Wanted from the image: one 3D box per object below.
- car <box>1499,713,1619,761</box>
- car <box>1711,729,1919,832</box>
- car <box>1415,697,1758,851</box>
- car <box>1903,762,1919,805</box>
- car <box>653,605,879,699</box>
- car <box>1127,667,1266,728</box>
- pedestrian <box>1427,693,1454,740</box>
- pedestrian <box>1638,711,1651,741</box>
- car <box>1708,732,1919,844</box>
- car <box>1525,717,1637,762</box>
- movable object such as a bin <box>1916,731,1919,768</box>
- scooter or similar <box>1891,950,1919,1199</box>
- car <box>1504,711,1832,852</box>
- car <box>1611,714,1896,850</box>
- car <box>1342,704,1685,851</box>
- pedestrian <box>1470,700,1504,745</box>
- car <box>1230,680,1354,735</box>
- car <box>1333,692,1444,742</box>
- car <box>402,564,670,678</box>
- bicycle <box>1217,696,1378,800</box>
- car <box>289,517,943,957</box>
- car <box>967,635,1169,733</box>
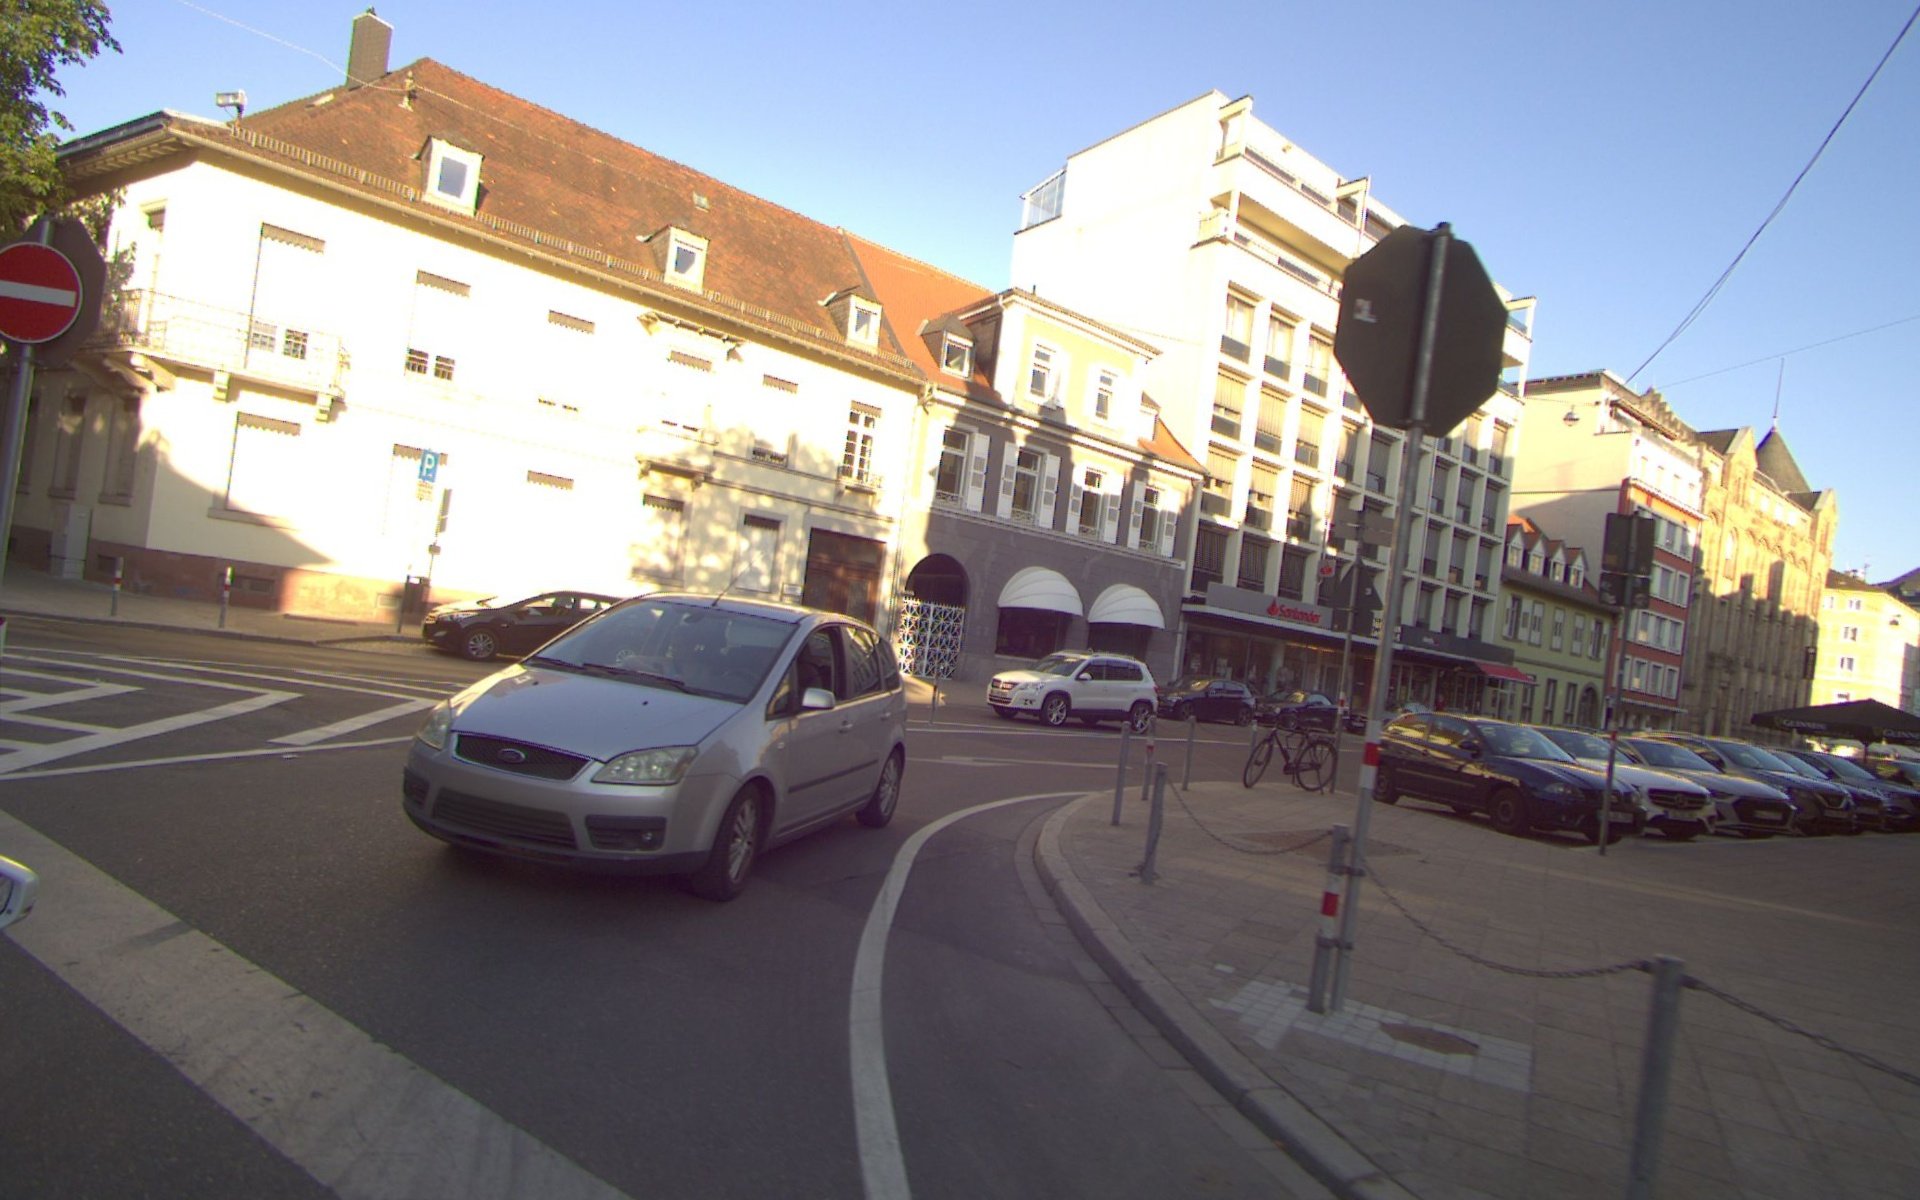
[{"bbox_3d":[26.375,6.023,44.421,4.104,1.385,1.777,7,-1,16],"label":"car"},{"bbox_3d":[20.382,4.170,23.502,1.757,1.579,4.117,8,-1,-23],"label":"car"},{"bbox_3d":[9.734,2.639,16.284,1.953,1.475,4.987,8,-1,-6],"label":"car"},{"bbox_3d":[39.221,7.421,38.564,1.765,1.579,4.099,8,-1,-36],"label":"car"},{"bbox_3d":[-4.216,1.171,22.197,4.478,1.386,1.758,9,1,-35],"label":"car"},{"bbox_3d":[7.322,3.007,30.967,4.146,1.385,1.759,8,-2,-35],"label":"car"},{"bbox_3d":[21.799,5.271,45.616,0.614,2.037,0.673,8,-1,-36],"label":"pedestrian"},{"bbox_3d":[41.450,7.641,60.914,0.421,1.726,0.495,8,0,44],"label":"pedestrian"},{"bbox_3d":[18.304,3.889,21.030,1.749,1.558,4.134,8,-1,-8],"label":"car"},{"bbox_3d":[28.744,6.454,46.733,4.108,1.385,1.775,6,-1,25],"label":"car"},{"bbox_3d":[80.836,12.548,82.589,5.529,2.988,2.333,10,-3,-36],"label":"movable object such as a bin"},{"bbox_3d":[2.933,1.250,2.150,0.498,1.258,1.272,8,-1,-11],"label":"scooter or similar"},{"bbox_3d":[12.413,3.113,18.185,1.844,1.474,4.971,9,-1,-7],"label":"car"},{"bbox_3d":[15.105,3.393,19.496,1.749,1.746,4.134,8,-1,-8],"label":"car"},{"bbox_3d":[7.237,2.284,13.736,1.684,1.426,4.280,8,-6,-11],"label":"car"},{"bbox_3d":[25.763,5.976,49.207,1.092,2.037,0.902,8,-2,-36],"label":"pedestrian"},{"bbox_3d":[11.248,3.648,33.978,4.146,1.385,1.759,8,-2,-35],"label":"car"},{"bbox_3d":[15.932,4.355,37.345,4.146,1.385,1.759,8,-2,-35],"label":"car"},{"bbox_3d":[-8.100,0.432,19.347,4.382,1.560,1.851,9,-2,-33],"label":"car"},{"bbox_3d":[4.519,1.974,13.500,1.805,1.147,0.826,7,-2,-16],"label":"bicycle"},{"bbox_3d":[-1.624,0.707,6.575,1.850,1.672,4.358,7,-2,13],"label":"car"},{"bbox_3d":[2.448,1.891,22.369,4.169,1.674,1.878,9,-3,-36],"label":"car"}]
